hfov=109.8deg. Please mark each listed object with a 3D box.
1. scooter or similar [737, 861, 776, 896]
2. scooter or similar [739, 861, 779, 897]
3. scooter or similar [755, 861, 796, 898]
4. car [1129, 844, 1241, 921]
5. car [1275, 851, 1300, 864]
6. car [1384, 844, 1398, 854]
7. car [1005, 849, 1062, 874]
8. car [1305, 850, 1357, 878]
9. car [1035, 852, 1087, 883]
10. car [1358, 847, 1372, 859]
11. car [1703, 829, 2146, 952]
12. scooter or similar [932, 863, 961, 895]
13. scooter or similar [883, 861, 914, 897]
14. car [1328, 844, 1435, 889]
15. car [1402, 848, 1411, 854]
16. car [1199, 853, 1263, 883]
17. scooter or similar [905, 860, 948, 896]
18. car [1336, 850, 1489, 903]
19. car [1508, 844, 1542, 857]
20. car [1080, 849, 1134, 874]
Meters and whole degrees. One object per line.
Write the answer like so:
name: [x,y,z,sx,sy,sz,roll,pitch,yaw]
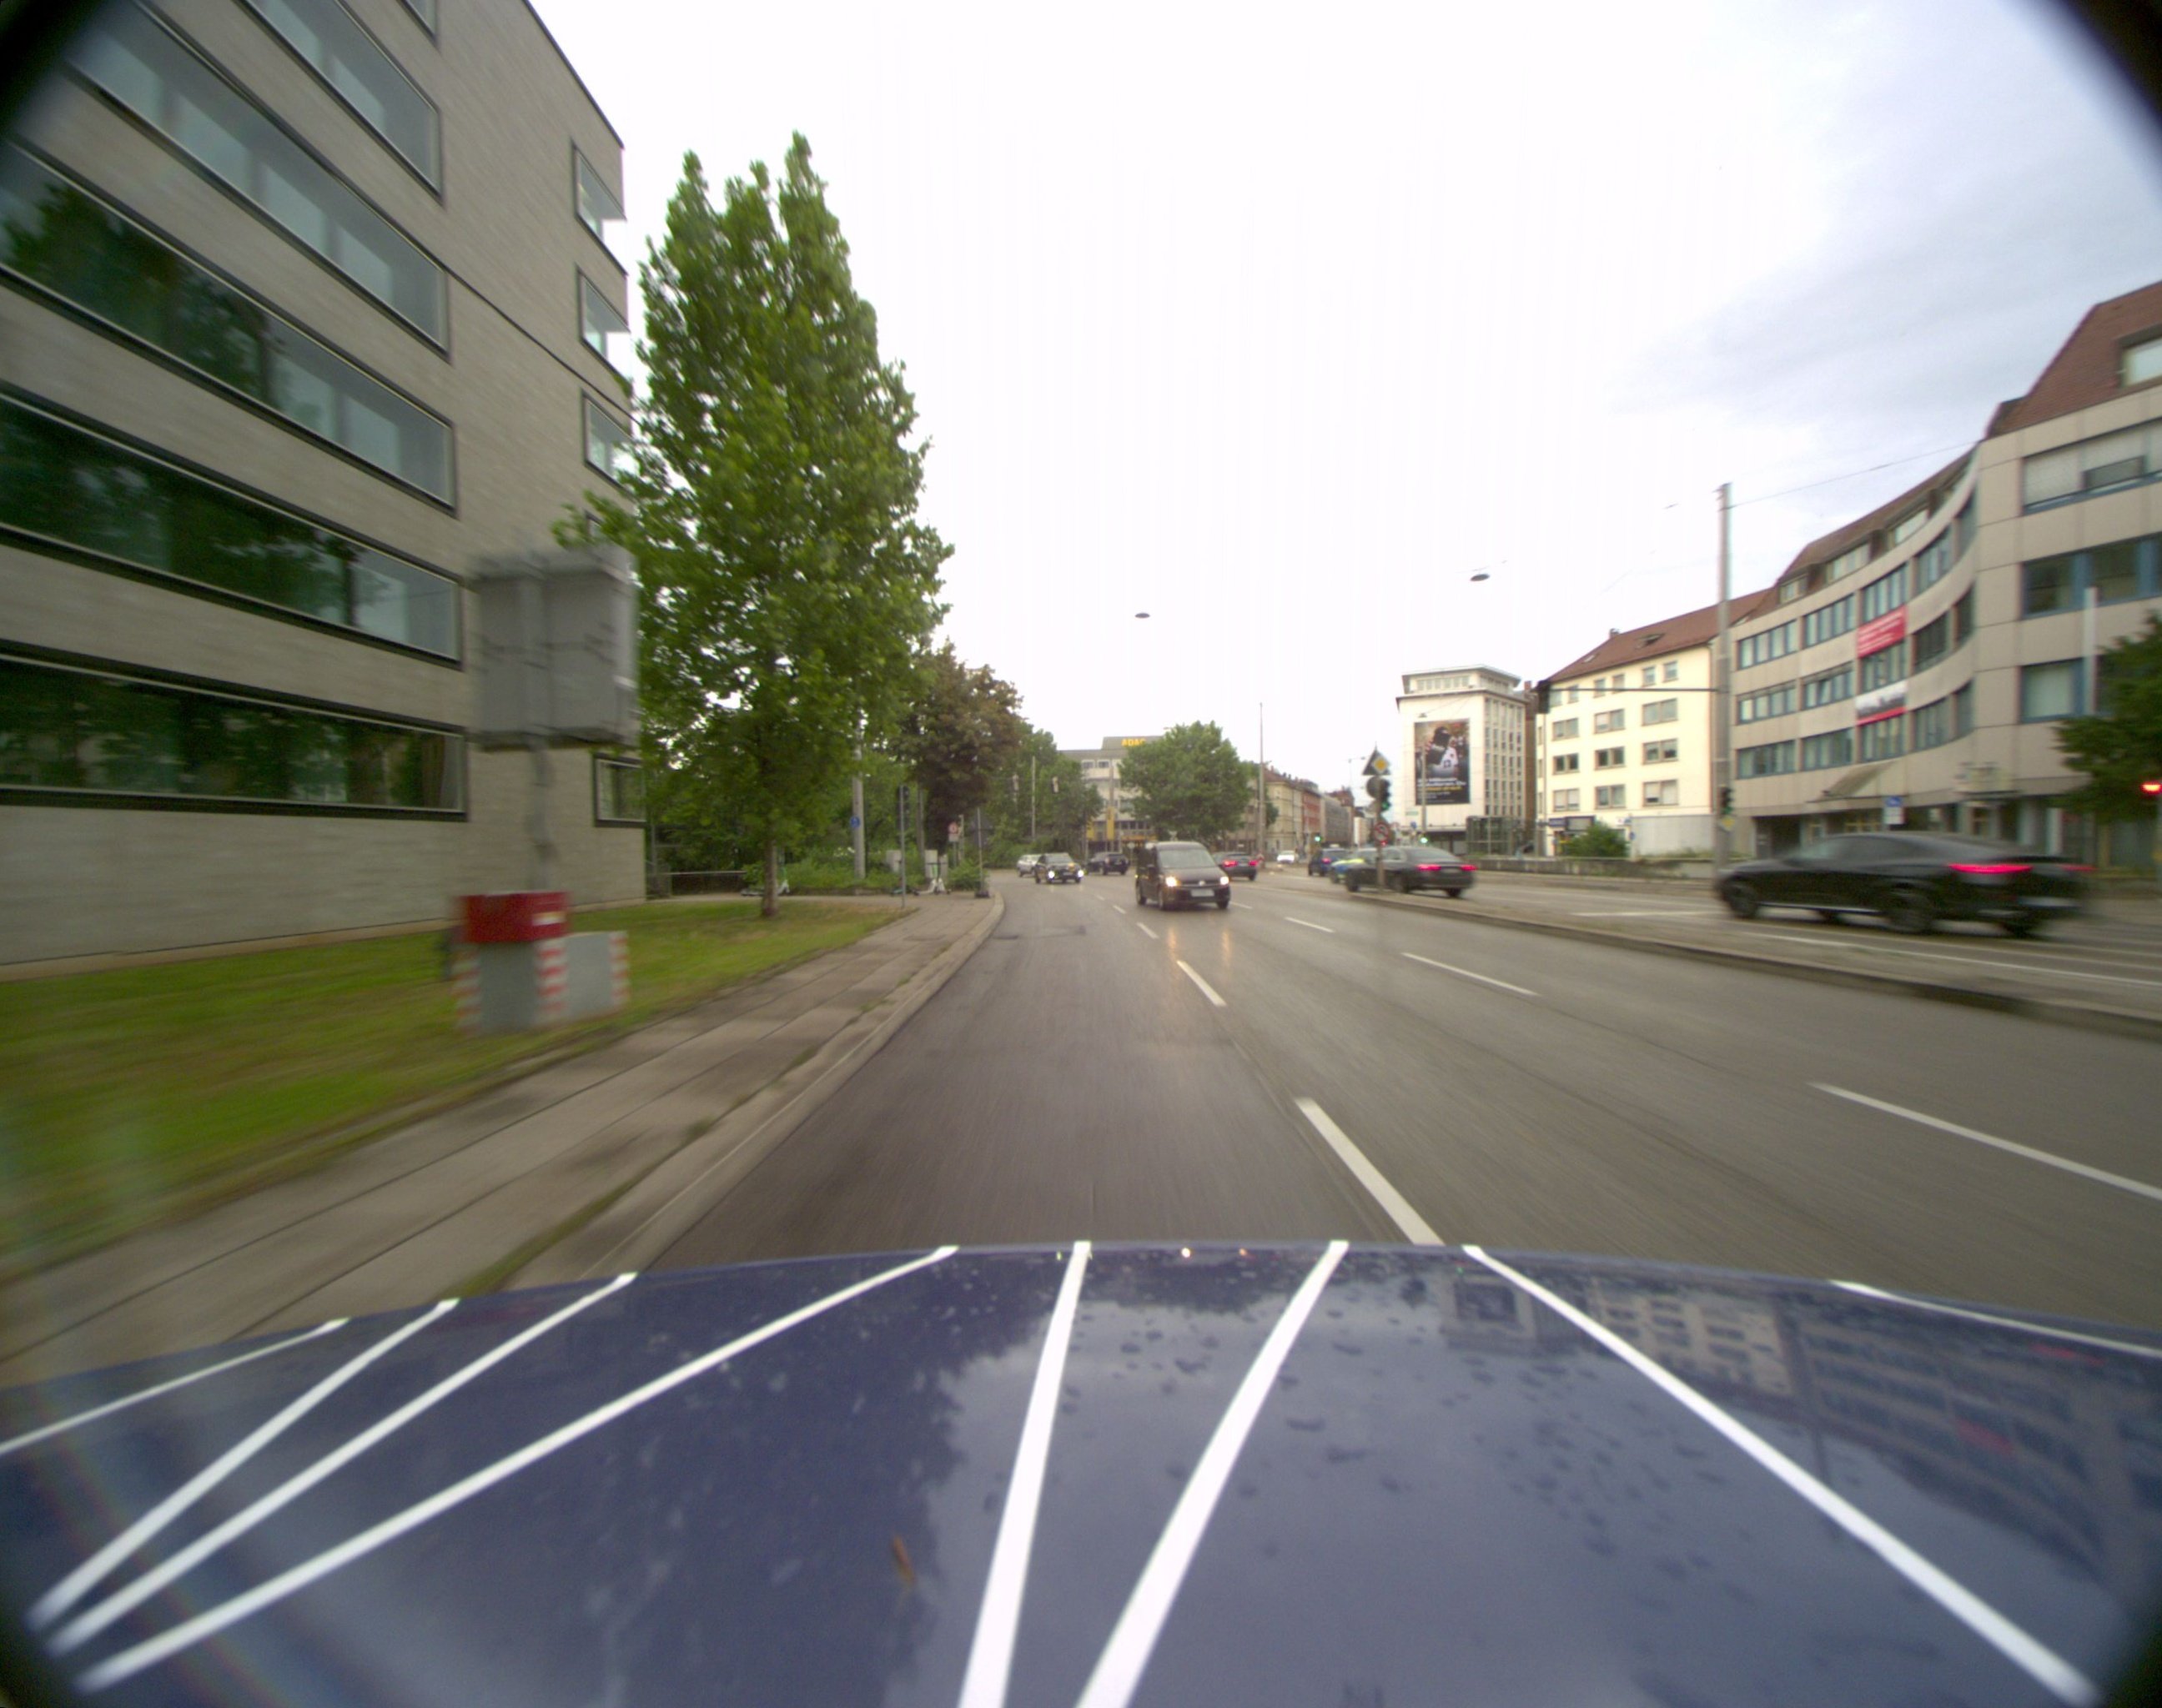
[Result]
scooter or similar: [-12.089,0.910,28.359,1.240,1.305,0.472,0,1,-3]
scooter or similar: [-11.801,0.913,27.833,1.240,1.305,0.472,0,1,-3]
scooter or similar: [-10.967,0.896,27.324,1.240,1.305,0.554,0,1,-3]
car: [2.672,0.704,20.530,1.796,1.789,4.122,-2,0,-9]
car: [22.448,0.361,82.358,1.995,1.442,4.236,0,0,24]
car: [52.913,-0.872,129.561,1.871,1.568,4.007,0,0,27]
car: [-3.492,0.525,55.125,2.004,1.735,4.642,0,0,-35]
car: [14.240,0.528,43.452,1.766,1.503,4.122,0,0,3]
car: [-1.126,0.689,40.915,1.932,1.532,3.995,-1,0,-15]
car: [43.591,-0.146,116.692,1.995,1.832,4.446,0,0,19]
car: [13.546,0.514,12.850,1.999,1.667,4.937,0,0,0]
scooter or similar: [-4.923,0.885,27.774,0.638,1.122,1.590,0,0,-25]
scooter or similar: [-6.249,0.837,26.068,0.563,1.194,1.326,0,0,7]
car: [11.992,0.466,30.666,1.773,1.672,4.585,0,0,-12]
car: [79.111,-0.738,184.656,1.776,1.313,3.685,0,0,28]
car: [7.325,0.638,37.555,1.772,1.408,4.079,0,0,-10]
scooter or similar: [-5.408,0.826,26.588,0.687,1.194,1.341,0,1,39]
car: [9.785,0.626,22.956,2.000,1.430,4.934,0,0,-7]
car: [52.730,-0.406,90.262,4.007,1.581,1.914,0,0,-33]
car: [1.732,0.504,52.908,1.862,1.613,4.583,-2,1,-25]
